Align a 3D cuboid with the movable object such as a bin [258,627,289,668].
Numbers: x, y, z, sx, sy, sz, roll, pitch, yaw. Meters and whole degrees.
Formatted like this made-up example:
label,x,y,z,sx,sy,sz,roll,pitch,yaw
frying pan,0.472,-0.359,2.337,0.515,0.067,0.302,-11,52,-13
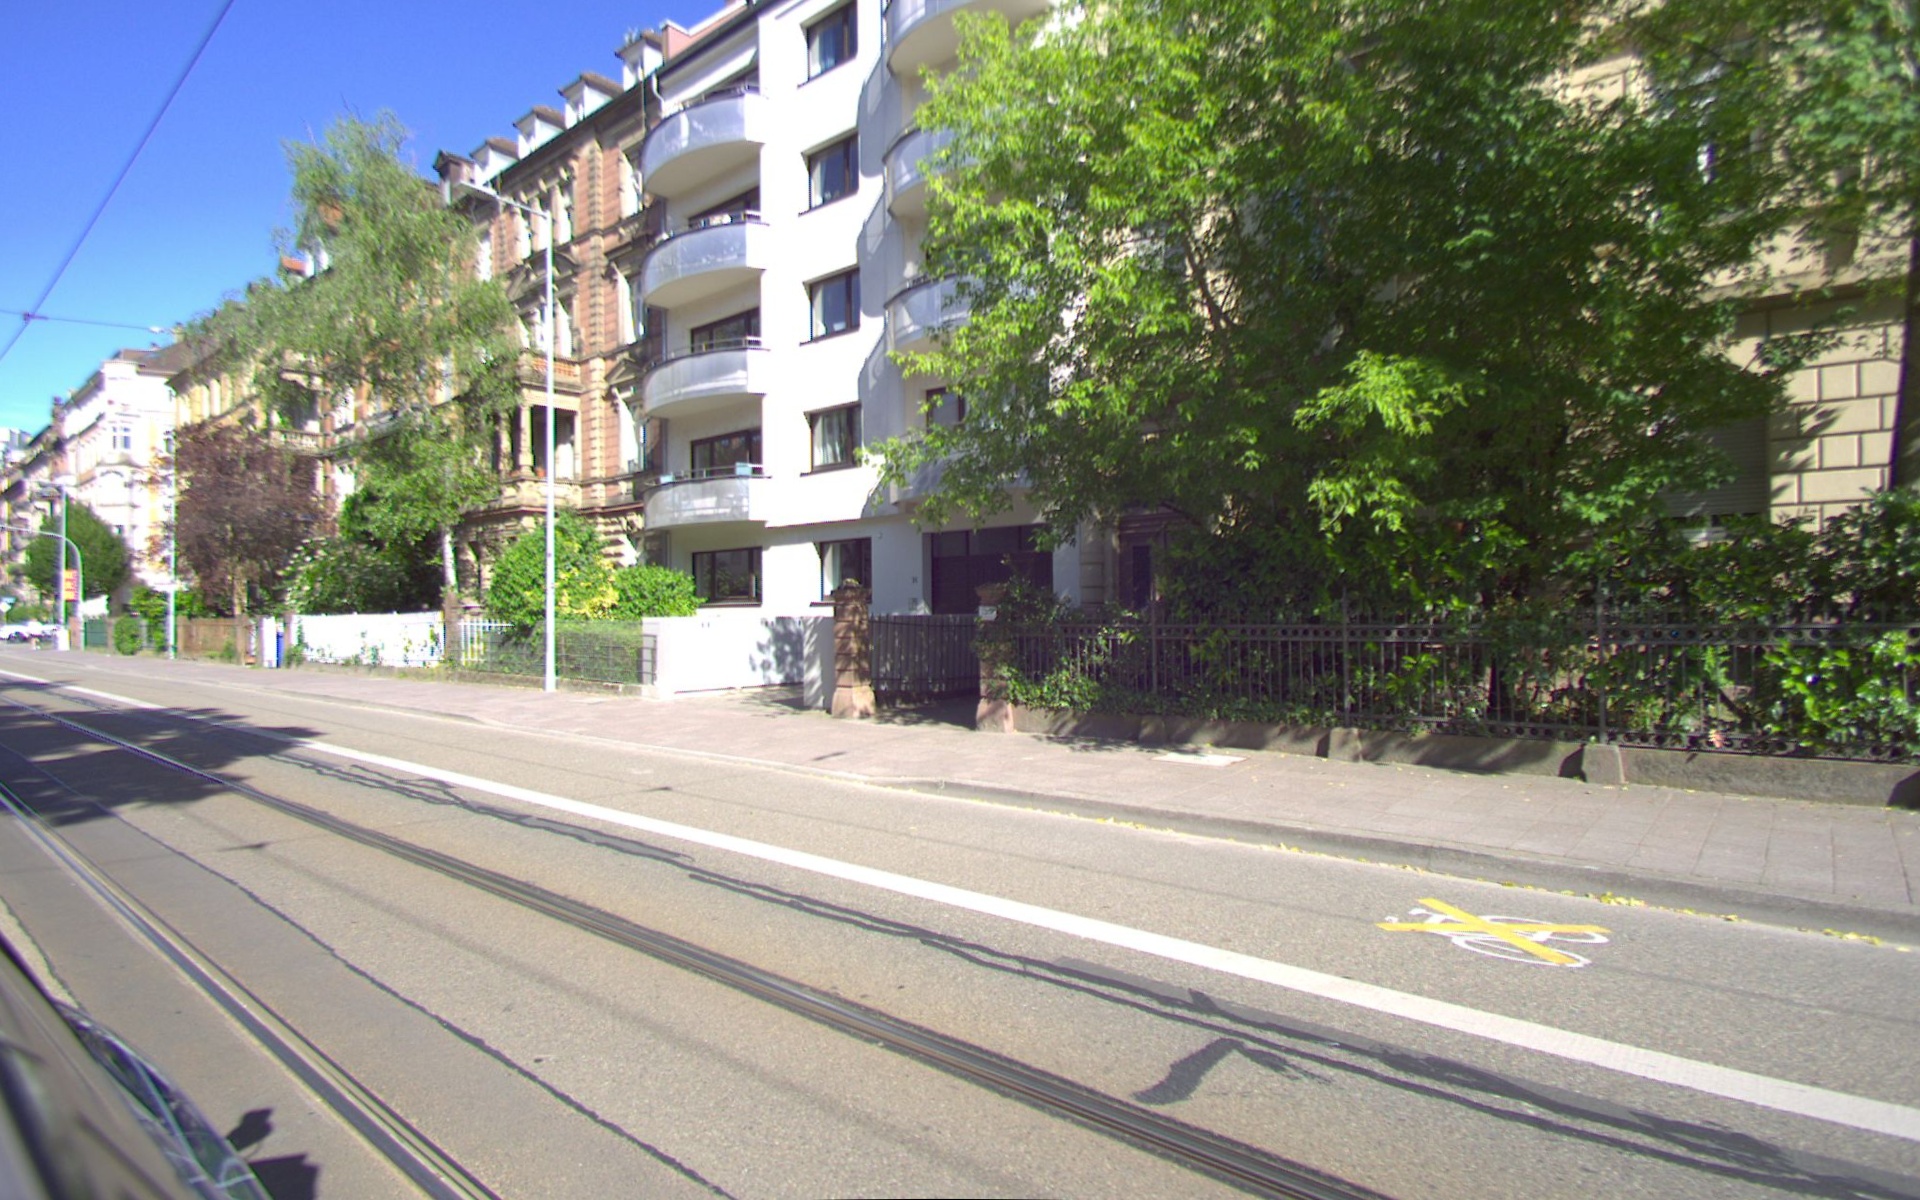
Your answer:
label,x,y,z,sx,sy,sz,roll,pitch,yaw
movable object such as a bin,-20.377,1.405,30.023,0.664,1.184,0.583,-2,-1,36
